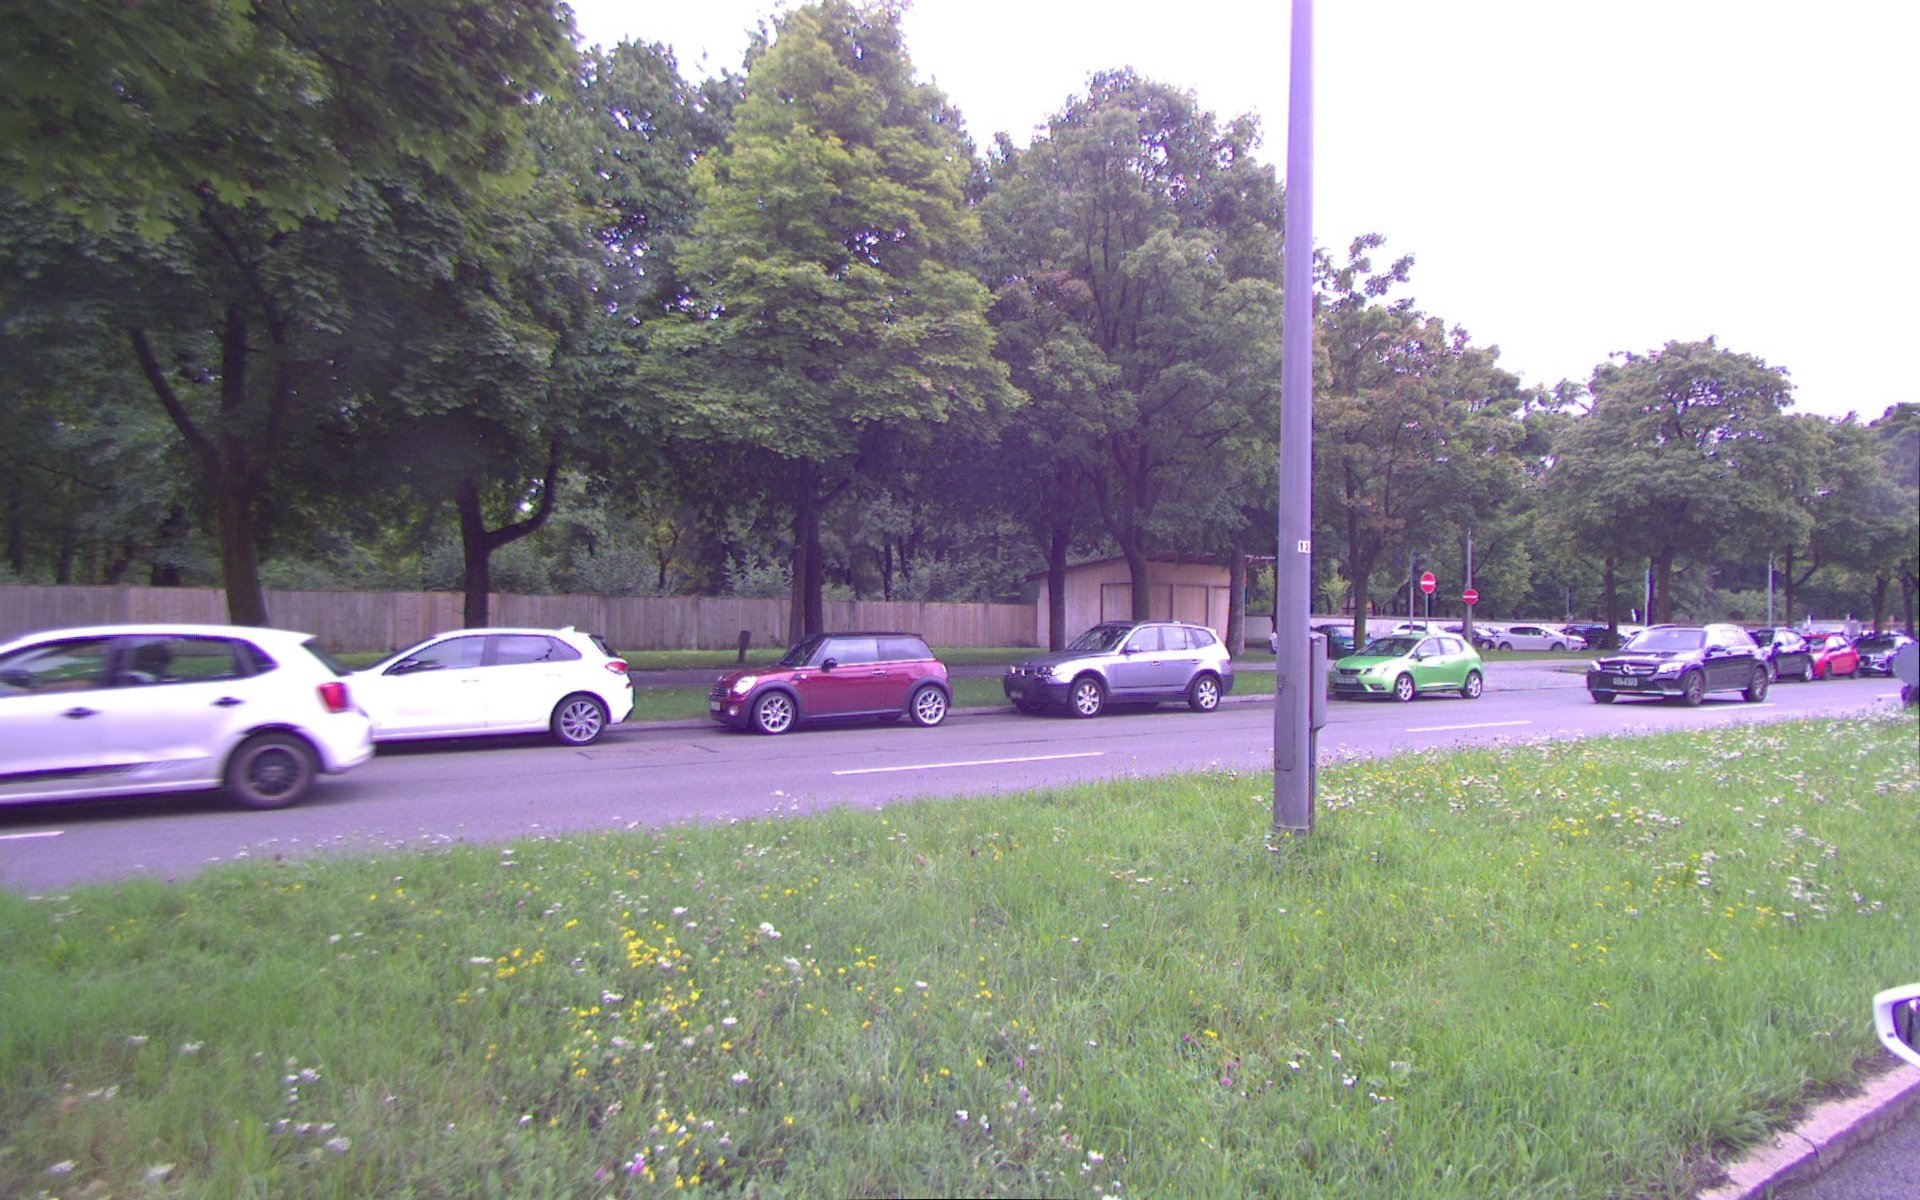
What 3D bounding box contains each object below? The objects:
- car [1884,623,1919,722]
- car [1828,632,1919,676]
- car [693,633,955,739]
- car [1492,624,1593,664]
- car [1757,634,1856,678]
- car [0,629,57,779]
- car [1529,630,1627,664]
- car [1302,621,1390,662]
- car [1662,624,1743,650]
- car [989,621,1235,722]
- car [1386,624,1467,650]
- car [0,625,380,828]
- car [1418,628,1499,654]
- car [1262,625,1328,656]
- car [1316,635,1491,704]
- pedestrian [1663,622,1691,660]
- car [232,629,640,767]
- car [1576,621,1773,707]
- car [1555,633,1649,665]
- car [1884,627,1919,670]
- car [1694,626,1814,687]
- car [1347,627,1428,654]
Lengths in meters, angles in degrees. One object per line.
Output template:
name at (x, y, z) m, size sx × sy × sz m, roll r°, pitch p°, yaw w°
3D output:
car at (15.784, 1.114, 14.173) m, size 1.661 × 1.482 × 3.720 m, roll 1°, pitch 0°, yaw -17°
car at (33.134, 1.922, 36.239) m, size 3.835 × 1.465 × 1.658 m, roll 2°, pitch 0°, yaw -32°
car at (-2.020, 1.210, 15.068) m, size 3.586 × 1.415 × 1.584 m, roll 1°, pitch -2°, yaw -29°
car at (28.224, 2.109, 48.745) m, size 1.656 × 1.740 × 3.892 m, roll 2°, pitch 0°, yaw -35°
car at (28.600, 1.868, 33.930) m, size 3.343 × 1.329 × 1.582 m, roll 2°, pitch 0°, yaw -32°
car at (-11.102, 0.986, 9.278) m, size 3.856 × 1.436 × 1.604 m, roll 1°, pitch -2°, yaw -33°
car at (30.789, 2.316, 50.124) m, size 1.656 × 1.465 × 3.840 m, roll 2°, pitch 0°, yaw -35°
car at (15.531, 1.634, 40.695) m, size 1.922 × 1.465 × 4.421 m, roll 2°, pitch 0°, yaw 1°
car at (47.392, 2.334, 64.190) m, size 1.656 × 1.465 × 3.840 m, roll 2°, pitch 0°, yaw -35°
car at (2.777, 1.215, 18.016) m, size 4.322 × 1.607 × 1.682 m, roll 1°, pitch -2°, yaw -32°
car at (29.497, 2.326, 63.630) m, size 1.653 × 1.496 × 4.485 m, roll 2°, pitch 0°, yaw -29°
car at (-6.706, 0.908, 7.794) m, size 3.794 × 1.393 × 1.610 m, roll 1°, pitch -3°, yaw -31°
car at (32.846, 2.692, 66.322) m, size 1.653 × 1.465 × 4.669 m, roll 2°, pitch 0°, yaw -29°
car at (15.307, 1.821, 46.131) m, size 1.639 × 1.217 × 4.421 m, roll 2°, pitch 0°, yaw 1°
car at (9.888, 1.493, 22.350) m, size 3.831 × 1.428 × 1.541 m, roll 1°, pitch -2°, yaw -29°
pedestrian at (30.126, 1.728, 42.200) m, size 0.712 × 1.554 × 0.724 m, roll 1°, pitch 0°, yaw -30°
car at (-6.316, 1.102, 12.461) m, size 4.230 × 1.463 × 1.599 m, roll 1°, pitch -2°, yaw -31°
car at (15.138, 1.311, 21.226) m, size 4.455 × 1.644 × 1.757 m, roll 1°, pitch -3°, yaw -31°
car at (33.812, 2.555, 52.953) m, size 1.656 × 1.465 × 3.840 m, roll 2°, pitch 0°, yaw -35°
car at (37.745, 1.897, 39.136) m, size 3.835 × 1.579 × 1.582 m, roll 2°, pitch 0°, yaw -32°
car at (24.681, 1.724, 31.216) m, size 3.835 × 1.764 × 1.707 m, roll 2°, pitch 0°, yaw -32°
car at (26.859, 2.521, 63.311) m, size 1.652 × 1.465 × 4.671 m, roll 2°, pitch -1°, yaw -28°
